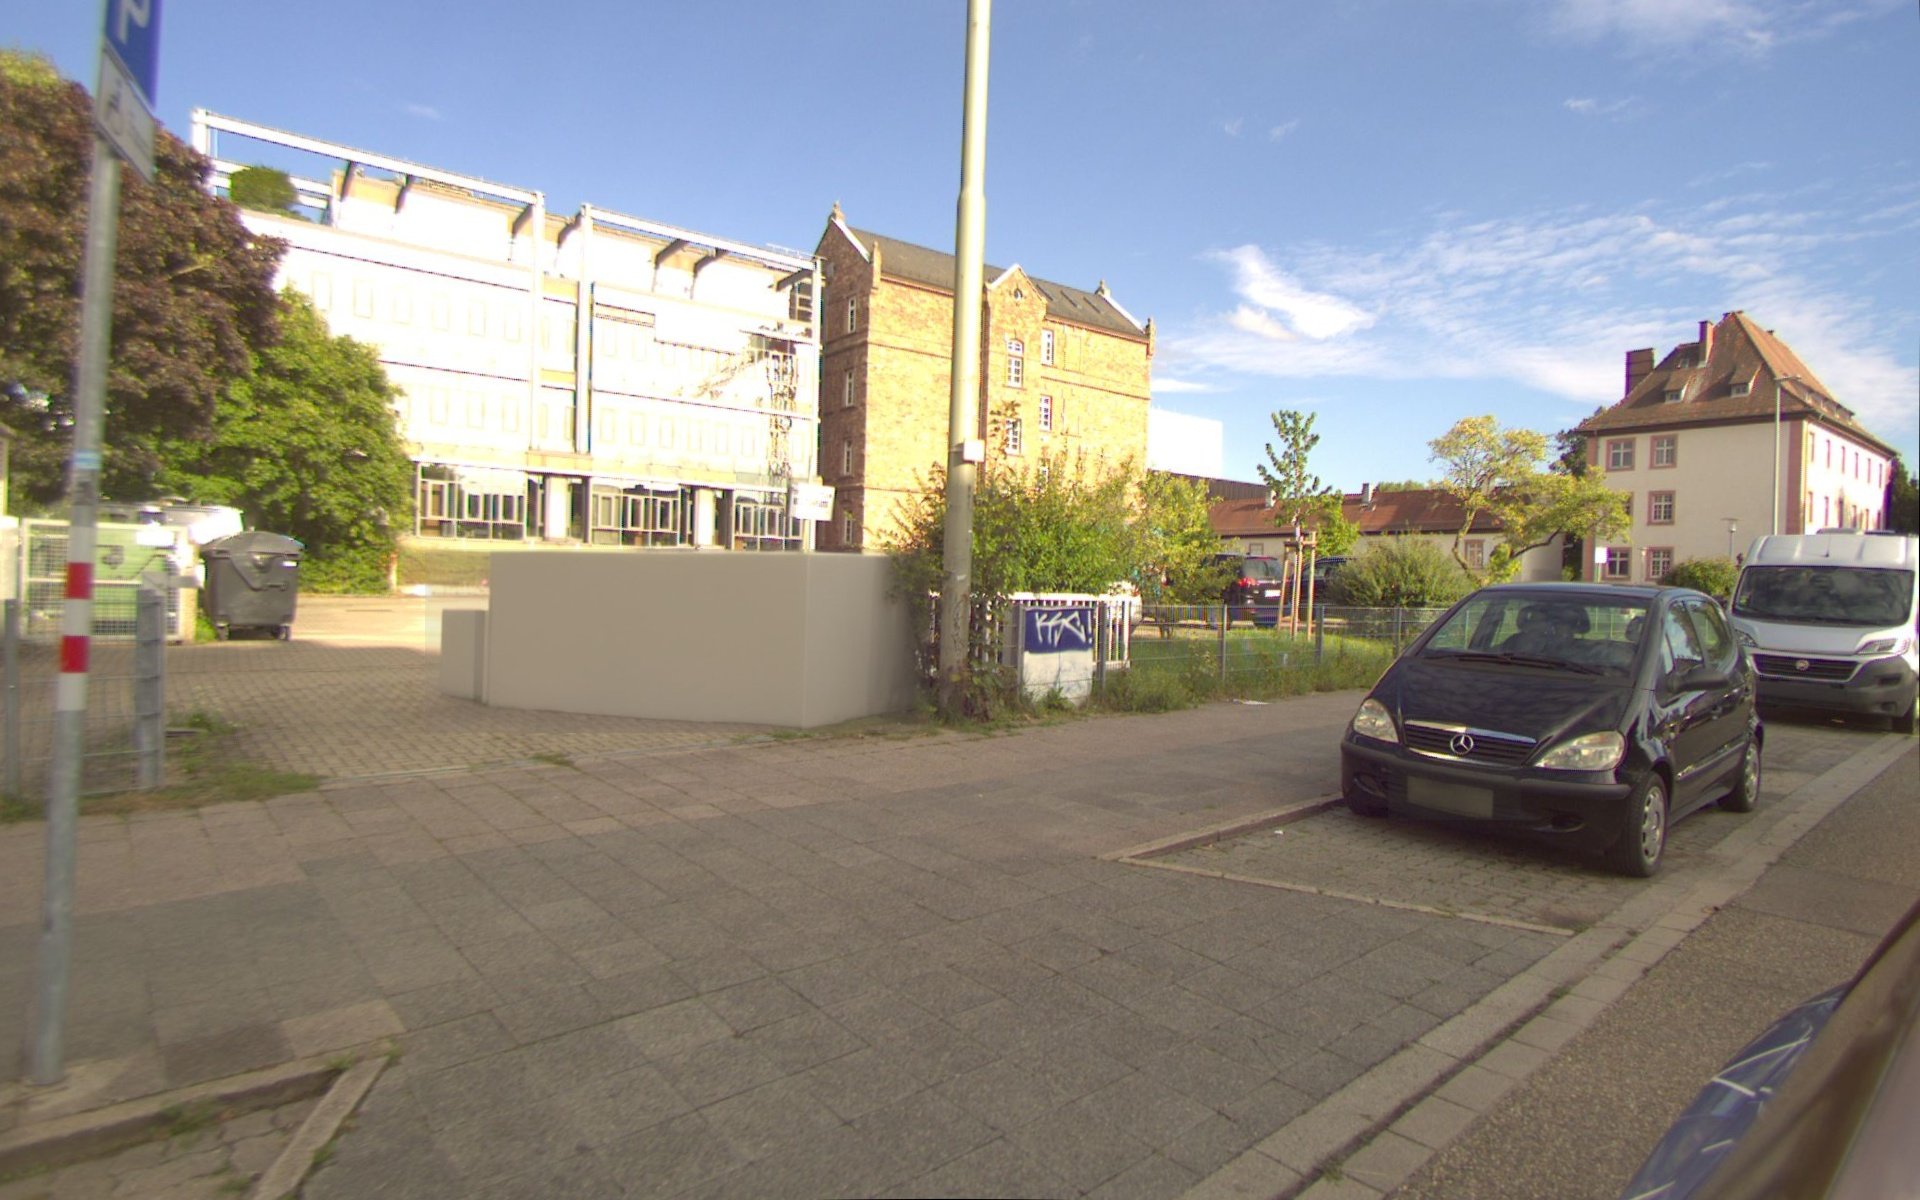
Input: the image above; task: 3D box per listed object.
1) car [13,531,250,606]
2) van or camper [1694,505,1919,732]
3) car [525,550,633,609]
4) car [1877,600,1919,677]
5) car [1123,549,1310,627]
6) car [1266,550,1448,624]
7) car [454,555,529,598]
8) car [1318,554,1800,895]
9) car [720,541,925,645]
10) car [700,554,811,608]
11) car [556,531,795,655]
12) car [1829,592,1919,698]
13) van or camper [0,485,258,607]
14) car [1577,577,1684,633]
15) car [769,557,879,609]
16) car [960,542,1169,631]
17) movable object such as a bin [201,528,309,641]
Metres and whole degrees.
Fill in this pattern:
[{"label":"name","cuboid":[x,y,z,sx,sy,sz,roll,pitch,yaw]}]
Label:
[{"label":"car","cuboid":[-18.327,-0.659,22.613,3.926,1.505,1.999,1,1,-38]},{"label":"van or camper","cuboid":[12.363,0.168,14.141,5.812,2.557,2.164,1,3,-42]},{"label":"car","cuboid":[-10.295,-0.556,27.198,1.834,1.436,4.092,1,1,-34]},{"label":"car","cuboid":[21.132,0.832,21.665,3.929,1.504,1.662,1,4,-41]},{"label":"car","cuboid":[5.596,-0.276,22.477,1.834,1.584,3.802,1,1,-32]},{"label":"car","cuboid":[9.724,-0.329,25.008,1.834,1.679,3.800,1,1,-34]},{"label":"car","cuboid":[-16.864,-0.850,36.352,1.834,1.436,4.092,1,1,-34]},{"label":"car","cuboid":[4.191,0.587,6.807,3.902,1.622,1.676,1,2,-42]},{"label":"car","cuboid":[-2.414,-0.138,16.842,1.834,1.500,4.094,1,1,-32]},{"label":"car","cuboid":[-6.165,-0.567,30.190,1.834,1.500,4.092,1,1,-34]},{"label":"car","cuboid":[-4.304,-0.129,14.743,1.835,1.500,4.681,1,1,-36]},{"label":"car","cuboid":[17.102,0.779,18.117,4.130,1.668,1.677,1,3,-41]},{"label":"van or camper","cuboid":[-19.992,-1.216,24.572,4.785,2.666,2.157,1,1,-34]},{"label":"car","cuboid":[22.962,0.169,34.604,4.017,1.740,1.889,1,2,-39]},{"label":"car","cuboid":[-4.409,-0.551,32.299,1.834,1.522,4.092,1,1,-34]},{"label":"car","cuboid":[1.877,-0.261,19.371,1.834,1.500,4.094,1,1,-32]},{"label":"movable object such as a bin","cuboid":[-9.419,-0.215,13.517,1.090,1.435,0.879,1,2,-40]}]
